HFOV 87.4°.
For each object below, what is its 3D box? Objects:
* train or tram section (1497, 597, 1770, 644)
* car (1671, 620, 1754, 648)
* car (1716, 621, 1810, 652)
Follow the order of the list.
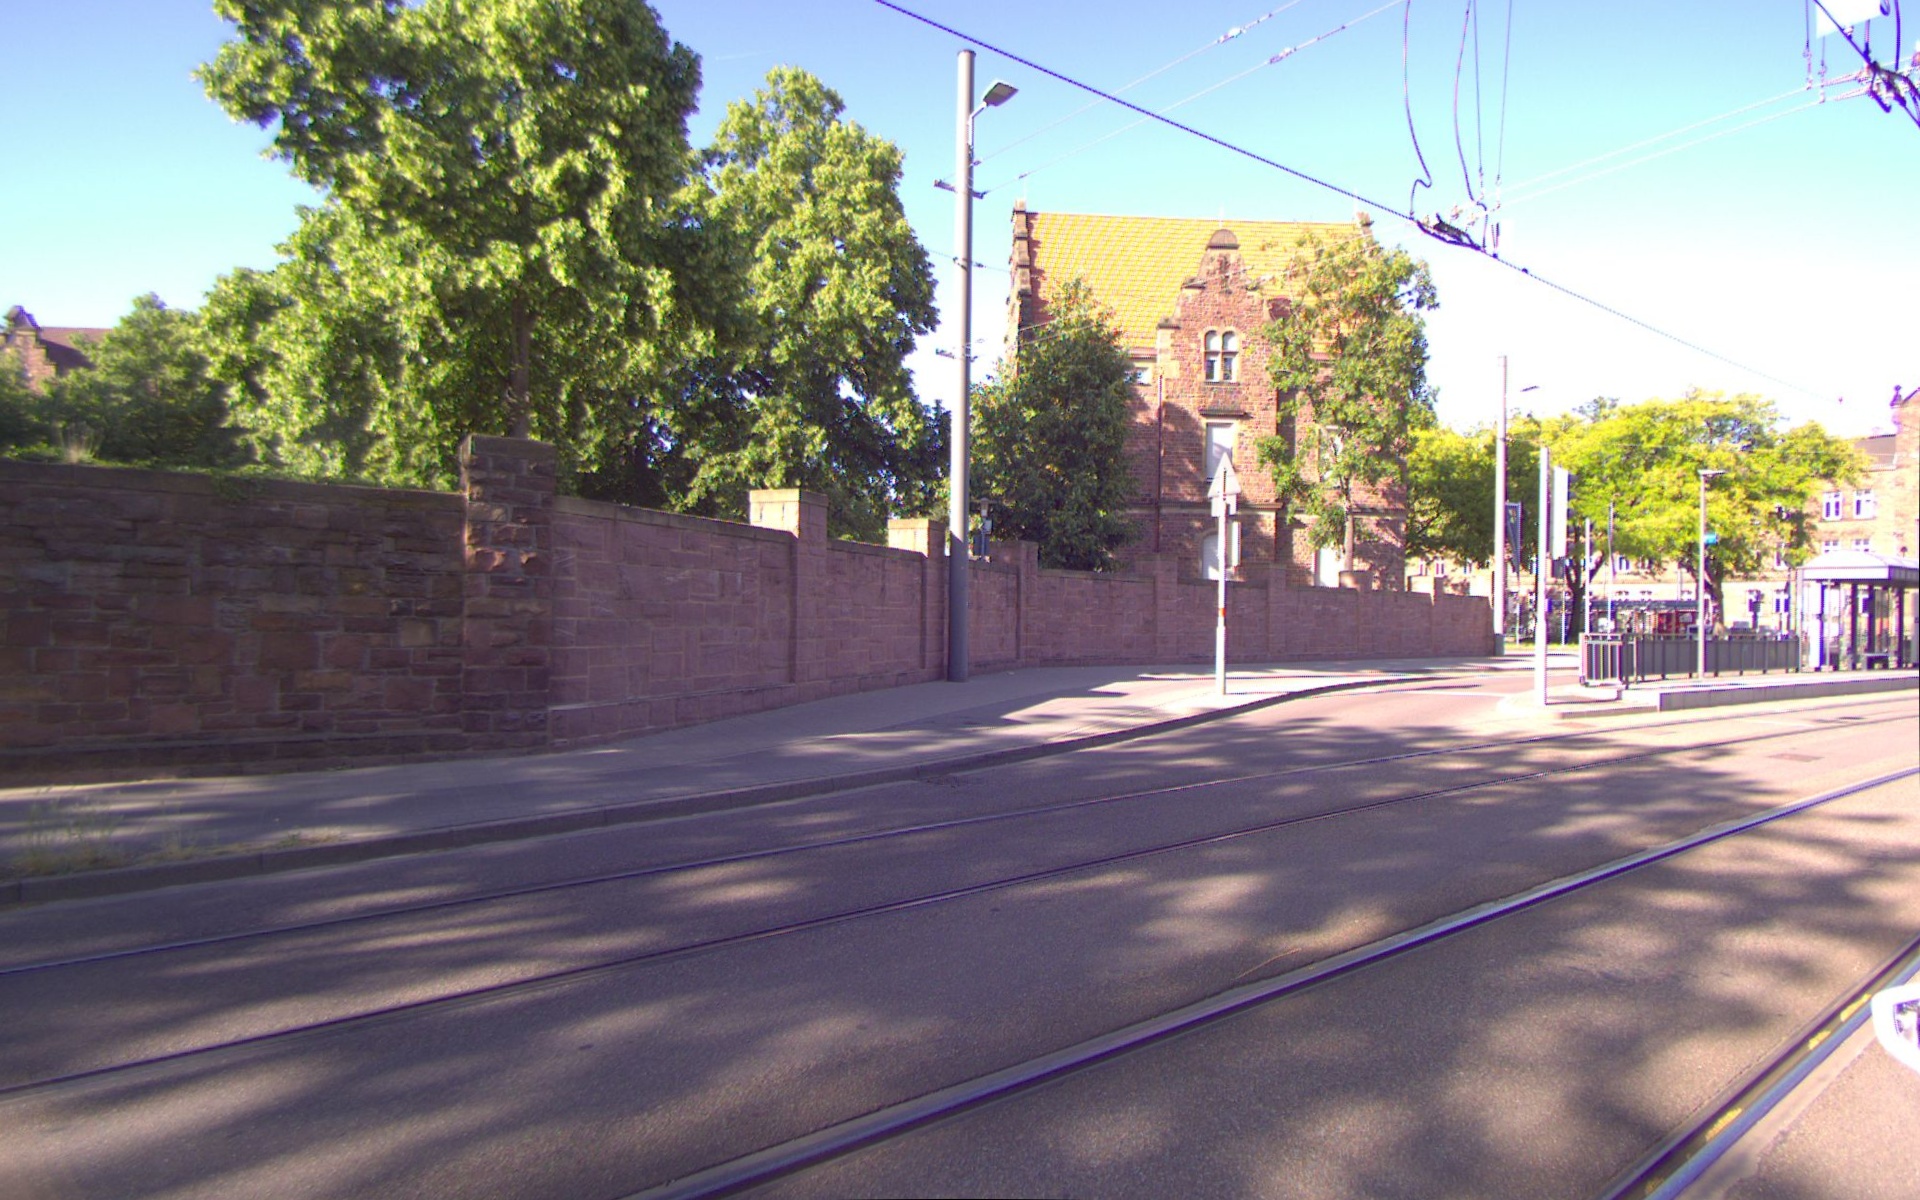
[{"bbox_3d":[50.034,1.446,75.888,3.312,3.196,17.280,2,-1,-33],"label":"train or tram section"},{"bbox_3d":[49.183,2.231,65.683,1.798,1.651,3.964,2,0,-32],"label":"car"},{"bbox_3d":[47.758,2.149,59.800,1.798,1.651,3.964,2,0,-32],"label":"car"}]
